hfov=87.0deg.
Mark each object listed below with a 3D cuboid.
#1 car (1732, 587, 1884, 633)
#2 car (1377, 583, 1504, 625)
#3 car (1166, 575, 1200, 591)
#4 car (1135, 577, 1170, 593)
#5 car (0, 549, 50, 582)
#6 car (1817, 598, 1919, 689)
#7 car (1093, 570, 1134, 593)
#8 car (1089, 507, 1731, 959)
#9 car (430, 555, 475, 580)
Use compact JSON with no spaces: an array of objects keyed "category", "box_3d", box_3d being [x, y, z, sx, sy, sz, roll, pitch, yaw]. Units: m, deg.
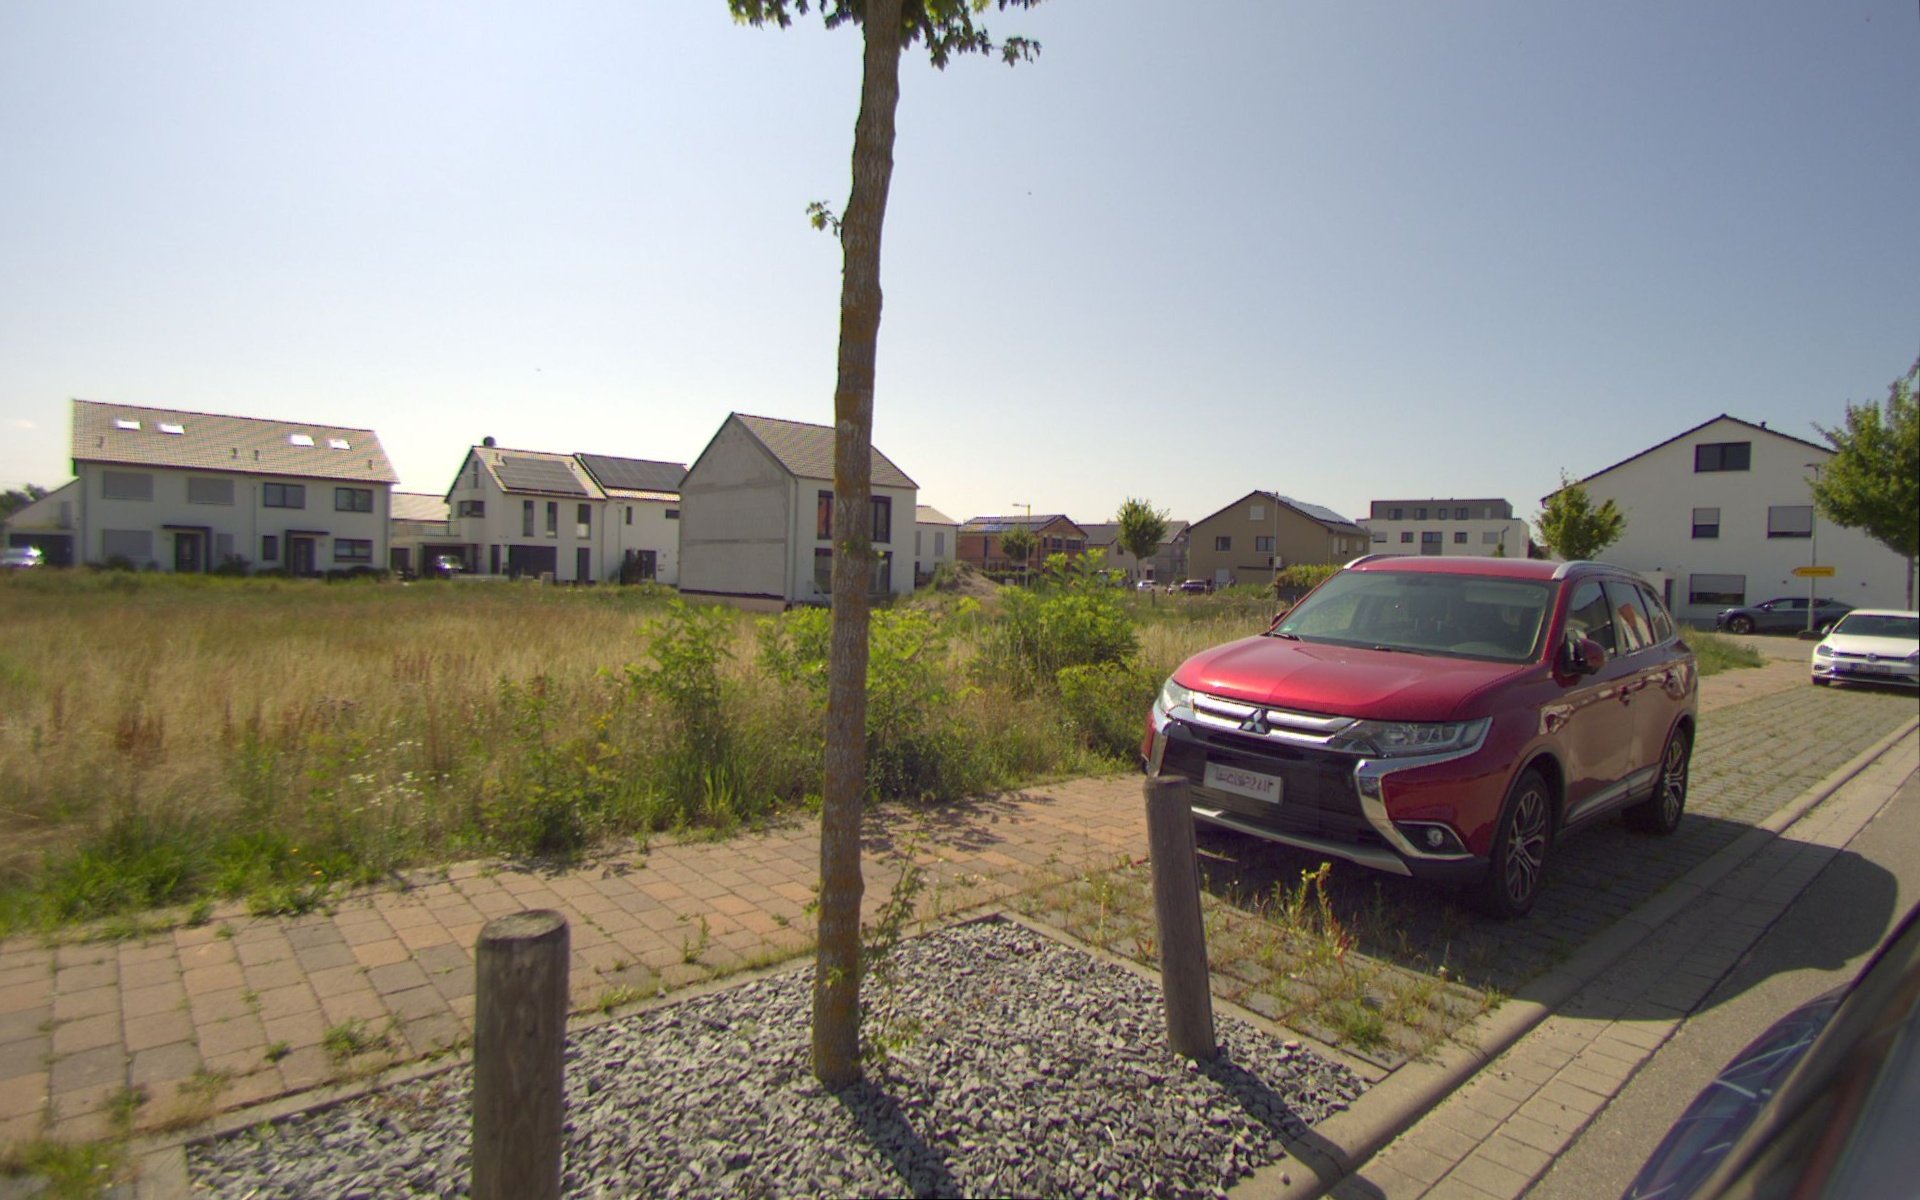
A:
[{"category":"car","box_3d":[33.070,0.365,39.544,1.927,1.577,4.342,1,1,-43]},{"category":"car","box_3d":[18.856,0.108,39.794,4.178,1.512,1.822,2,2,42]},{"category":"car","box_3d":[22.601,-1.704,102.614,1.742,1.521,3.943,3,2,39]},{"category":"car","box_3d":[18.607,-1.427,97.743,1.660,1.418,3.865,3,2,39]},{"category":"car","box_3d":[-47.786,-1.768,51.553,1.782,1.593,3.998,0,2,-38]},{"category":"car","box_3d":[17.436,0.763,18.725,4.093,1.437,1.779,1,3,-42]},{"category":"car","box_3d":[14.007,-1.653,92.361,1.991,2.038,3.943,3,2,39]},{"category":"car","box_3d":[2.877,0.462,5.897,4.358,1.683,1.780,1,3,-43]},{"category":"car","box_3d":[-32.366,-2.079,64.484,1.782,1.531,3.998,0,2,-38]}]
